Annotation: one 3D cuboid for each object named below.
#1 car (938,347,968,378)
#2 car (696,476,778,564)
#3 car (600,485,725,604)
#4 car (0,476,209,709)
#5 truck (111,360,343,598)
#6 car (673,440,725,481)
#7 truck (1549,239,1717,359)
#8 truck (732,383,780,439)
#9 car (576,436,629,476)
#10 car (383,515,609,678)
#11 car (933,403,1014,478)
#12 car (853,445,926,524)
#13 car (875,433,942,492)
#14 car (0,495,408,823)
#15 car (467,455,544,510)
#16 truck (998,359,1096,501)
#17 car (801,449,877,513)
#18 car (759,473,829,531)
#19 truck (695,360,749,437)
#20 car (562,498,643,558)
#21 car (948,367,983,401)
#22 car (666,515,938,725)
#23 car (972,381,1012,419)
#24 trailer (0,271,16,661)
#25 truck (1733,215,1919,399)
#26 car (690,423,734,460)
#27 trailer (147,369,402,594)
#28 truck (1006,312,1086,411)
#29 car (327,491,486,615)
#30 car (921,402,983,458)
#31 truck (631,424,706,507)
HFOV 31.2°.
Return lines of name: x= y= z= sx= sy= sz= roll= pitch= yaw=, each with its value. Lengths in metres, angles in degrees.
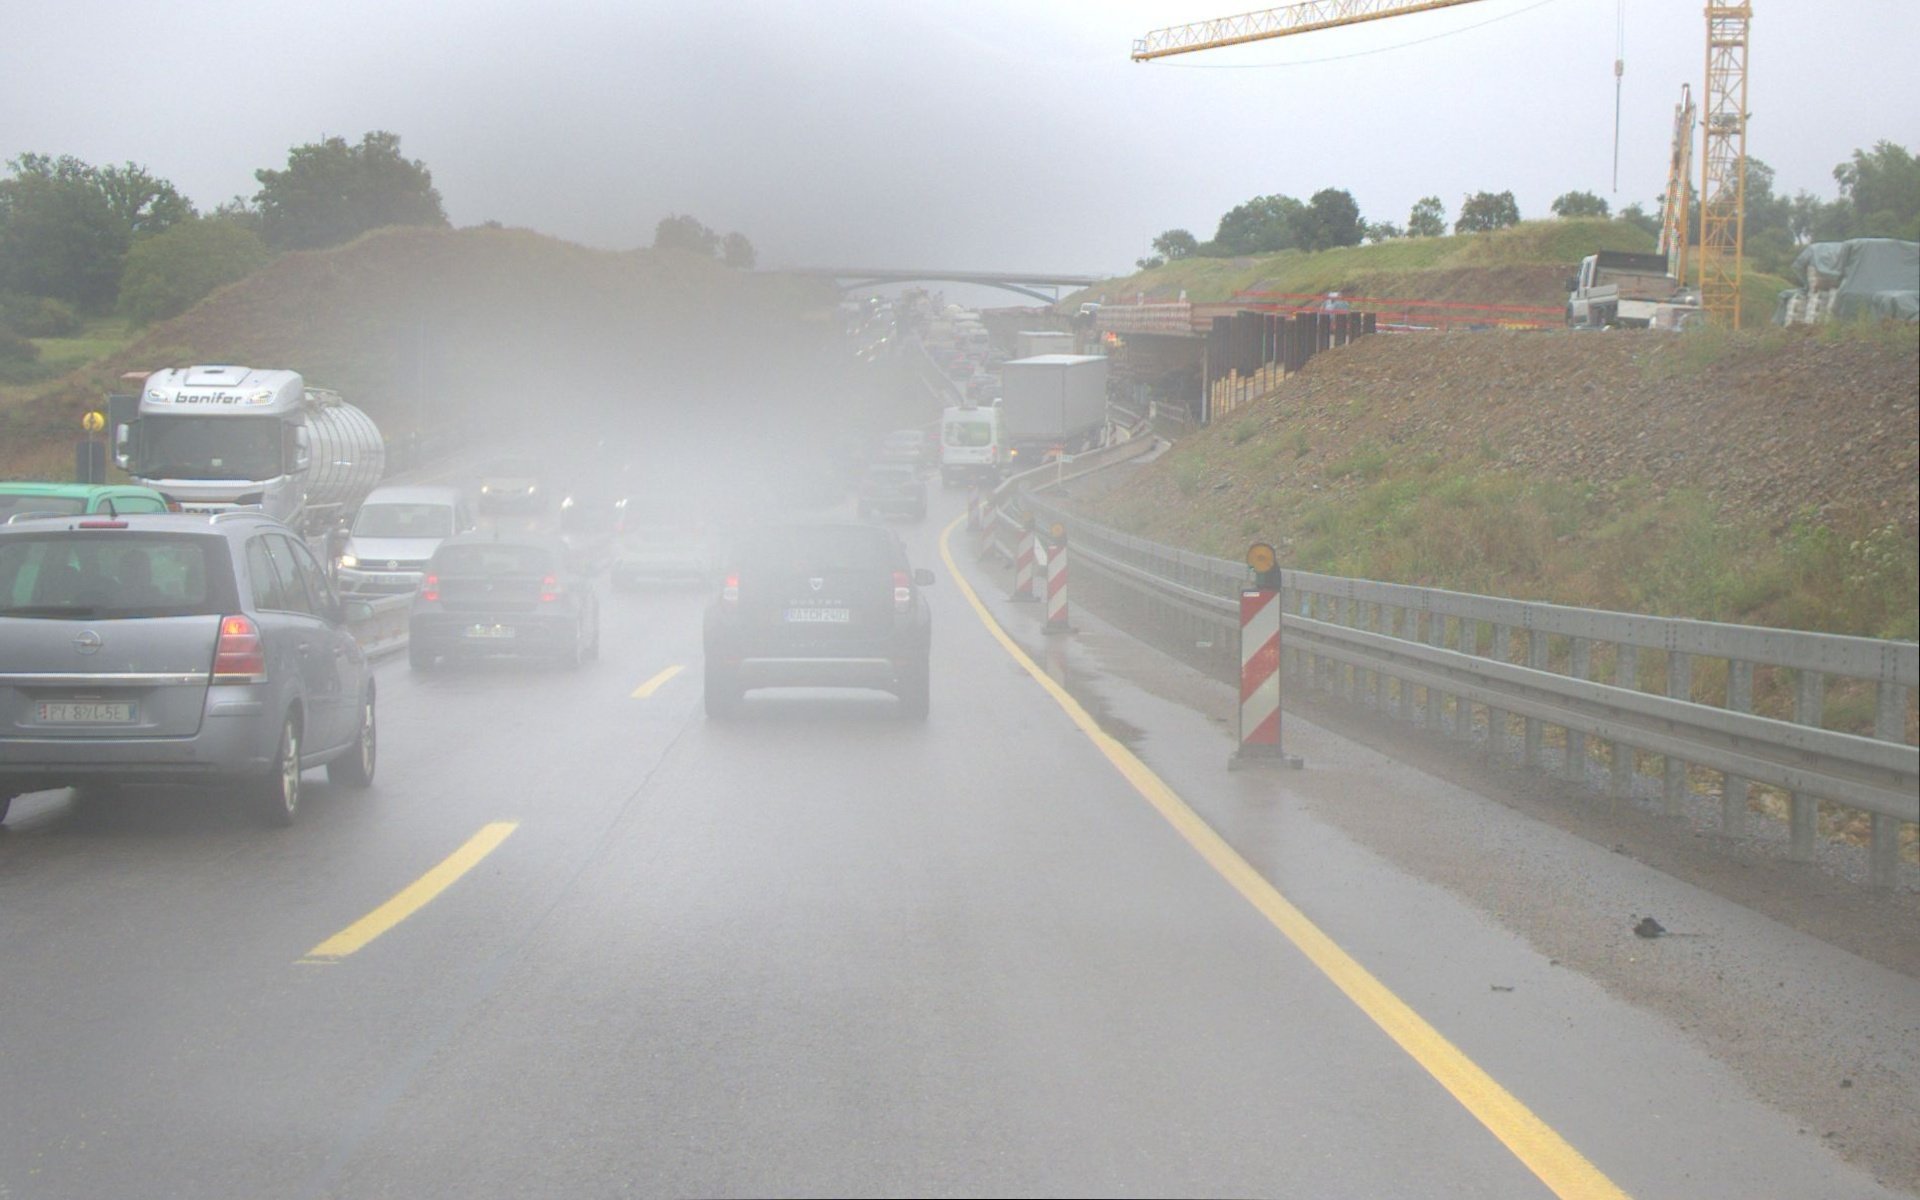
car: x=-0.493 y=-16.877 z=244.662 sx=1.993 sy=2.007 sz=4.001 roll=1 pitch=1 yaw=-2
car: x=-5.658 y=-2.022 z=86.813 sx=1.993 sy=2.155 sz=4.141 roll=1 pitch=1 yaw=-4
car: x=-5.222 y=-0.989 z=60.722 sx=1.993 sy=2.007 sz=3.894 roll=1 pitch=1 yaw=-2
car: x=-7.660 y=-0.128 z=28.371 sx=1.993 sy=1.753 sz=4.688 roll=1 pitch=2 yaw=-1
truck: x=-12.004 y=-1.962 z=56.808 sx=2.620 sy=3.665 sz=6.596 roll=1 pitch=1 yaw=-2
car: x=-9.894 y=-5.277 z=130.518 sx=1.786 sy=1.533 sz=4.312 roll=0 pitch=2 yaw=-2
truck: x=16.998 y=-7.579 z=87.260 sx=2.645 sy=2.546 sz=6.985 roll=1 pitch=1 yaw=-2
truck: x=-9.995 y=-9.266 z=168.802 sx=2.147 sy=2.704 sz=6.017 roll=1 pitch=3 yaw=-2
car: x=-14.185 y=-5.701 z=136.493 sx=1.786 sy=1.533 sz=4.312 roll=0 pitch=2 yaw=-2
car: x=-4.807 y=-0.079 z=36.123 sx=1.993 sy=1.595 sz=4.141 roll=1 pitch=1 yaw=-3
car: x=0.490 y=-5.538 z=120.064 sx=1.994 sy=2.475 sz=4.980 roll=1 pitch=1 yaw=10
car: x=-1.960 y=-3.234 z=97.205 sx=1.993 sy=2.155 sz=4.141 roll=1 pitch=1 yaw=0
car: x=-1.950 y=-5.268 z=132.232 sx=1.994 sy=2.155 sz=4.139 roll=1 pitch=1 yaw=7
car: x=-4.348 y=0.242 z=18.917 sx=1.993 sy=1.595 sz=4.141 roll=1 pitch=1 yaw=-1
car: x=-13.138 y=-3.410 z=99.554 sx=1.787 sy=1.541 sz=4.001 roll=1 pitch=2 yaw=-2
truck: x=3.571 y=-6.730 z=138.028 sx=3.102 sy=5.407 sz=9.441 roll=1 pitch=1 yaw=6
car: x=-4.157 y=-4.082 z=118.466 sx=1.994 sy=2.155 sz=4.140 roll=1 pitch=1 yaw=7
car: x=-5.123 y=-3.026 z=106.527 sx=1.993 sy=1.755 sz=3.815 roll=1 pitch=1 yaw=0
truck: x=-12.661 y=-10.777 z=183.373 sx=2.641 sy=3.956 sz=9.216 roll=1 pitch=4 yaw=-2
car: x=-9.380 y=-1.916 z=90.470 sx=1.772 sy=1.499 sz=4.680 roll=0 pitch=2 yaw=-2
car: x=0.334 y=-13.030 z=207.544 sx=1.993 sy=2.006 sz=4.001 roll=0 pitch=3 yaw=-2
car: x=-1.246 y=0.109 z=28.578 sx=2.081 sy=1.595 sz=4.141 roll=1 pitch=1 yaw=-1
car: x=1.714 y=-10.796 z=185.972 sx=1.993 sy=2.006 sz=4.001 roll=0 pitch=3 yaw=-2
trailer: x=-11.127 y=-1.234 z=28.389 sx=2.749 sy=4.028 sz=15.361 roll=1 pitch=1 yaw=-1
truck: x=17.247 y=-5.383 z=64.636 sx=3.395 sy=2.865 sz=8.960 roll=1 pitch=1 yaw=0
car: x=-10.514 y=-6.744 z=146.092 sx=1.676 sy=1.518 sz=4.346 roll=0 pitch=3 yaw=-2
trailer: x=-12.220 y=-2.090 z=62.411 sx=2.620 sy=3.665 sz=12.006 roll=1 pitch=1 yaw=-2
truck: x=4.911 y=-13.702 z=198.798 sx=3.803 sy=5.025 sz=12.923 roll=1 pitch=1 yaw=-2
car: x=-8.390 y=-0.740 z=52.413 sx=1.865 sy=1.794 sz=4.163 roll=1 pitch=1 yaw=-2
car: x=-0.322 y=-6.990 z=141.670 sx=1.994 sy=2.155 sz=4.139 roll=1 pitch=1 yaw=8
truck: x=-9.383 y=-4.310 z=110.938 sx=2.078 sy=2.567 sz=5.963 roll=1 pitch=1 yaw=-2
